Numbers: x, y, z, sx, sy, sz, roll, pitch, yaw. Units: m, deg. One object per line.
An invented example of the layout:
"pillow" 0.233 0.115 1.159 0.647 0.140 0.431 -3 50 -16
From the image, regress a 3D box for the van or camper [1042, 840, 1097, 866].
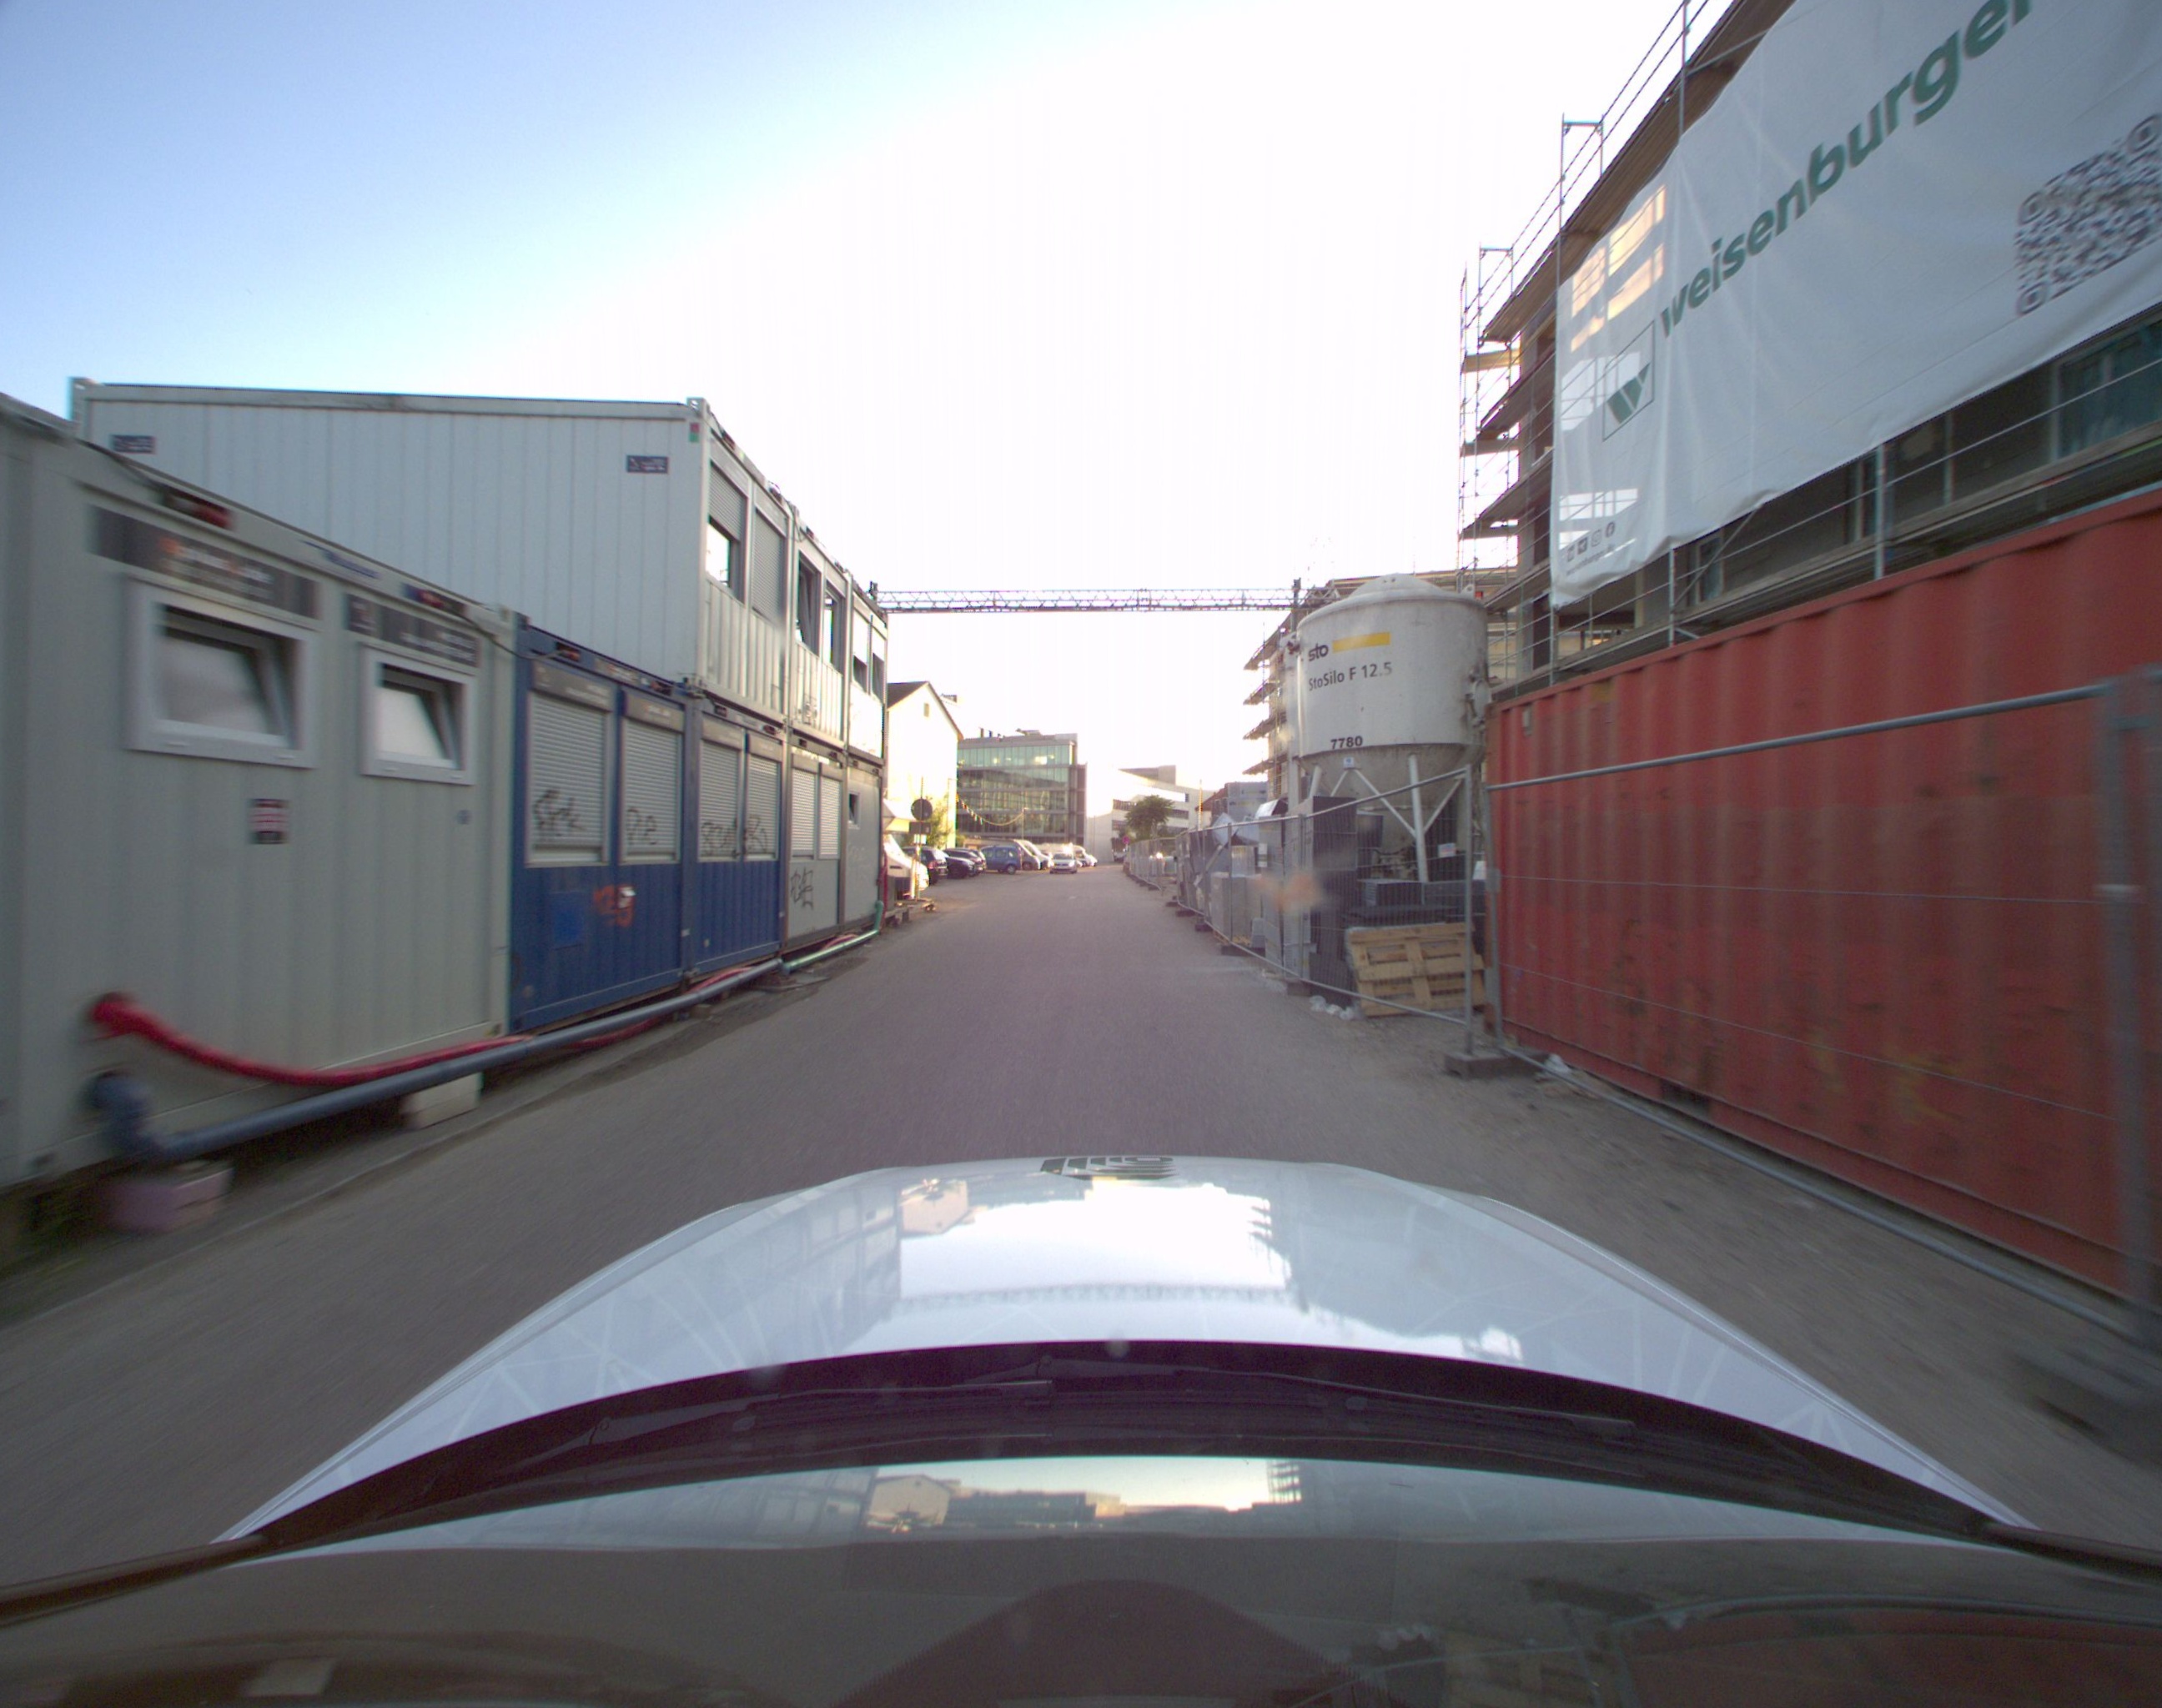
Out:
"van or camper" -1.438 -0.113 100.081 6.289 2.978 2.301 1 0 13

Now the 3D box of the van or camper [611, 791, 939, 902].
"van or camper" -8.866 -0.230 24.216 8.730 3.049 2.596 1 0 2

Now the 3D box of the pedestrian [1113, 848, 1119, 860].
"pedestrian" 5.544 0.034 129.798 0.756 1.816 0.850 1 0 24

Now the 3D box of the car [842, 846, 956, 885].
"car" -8.051 0.489 36.287 4.477 1.648 2.005 1 0 9

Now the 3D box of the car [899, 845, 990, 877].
"car" -7.493 0.367 44.802 4.477 1.648 2.005 1 0 9

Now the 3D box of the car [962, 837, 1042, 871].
"car" -6.452 -0.013 67.155 6.305 2.651 2.000 1 0 1

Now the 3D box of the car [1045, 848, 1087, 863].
"car" -1.724 0.177 94.408 4.477 1.648 2.005 1 0 9

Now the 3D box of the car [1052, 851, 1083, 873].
"car" -0.952 0.547 59.385 1.656 1.529 3.918 1 0 7

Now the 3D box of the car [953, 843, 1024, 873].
"car" -6.007 0.262 53.259 4.496 1.868 1.997 0 0 -5

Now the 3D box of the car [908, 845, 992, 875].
"car" -7.703 0.338 48.202 4.477 1.648 2.005 1 0 9

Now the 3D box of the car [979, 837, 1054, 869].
"car" -5.589 -0.082 70.858 6.305 2.741 2.000 1 0 1

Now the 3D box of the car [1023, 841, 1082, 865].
"car" -3.032 -0.120 86.269 5.884 2.490 2.007 1 0 11

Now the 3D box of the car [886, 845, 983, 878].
"car" -7.500 0.365 42.027 4.477 1.648 2.005 1 0 9
